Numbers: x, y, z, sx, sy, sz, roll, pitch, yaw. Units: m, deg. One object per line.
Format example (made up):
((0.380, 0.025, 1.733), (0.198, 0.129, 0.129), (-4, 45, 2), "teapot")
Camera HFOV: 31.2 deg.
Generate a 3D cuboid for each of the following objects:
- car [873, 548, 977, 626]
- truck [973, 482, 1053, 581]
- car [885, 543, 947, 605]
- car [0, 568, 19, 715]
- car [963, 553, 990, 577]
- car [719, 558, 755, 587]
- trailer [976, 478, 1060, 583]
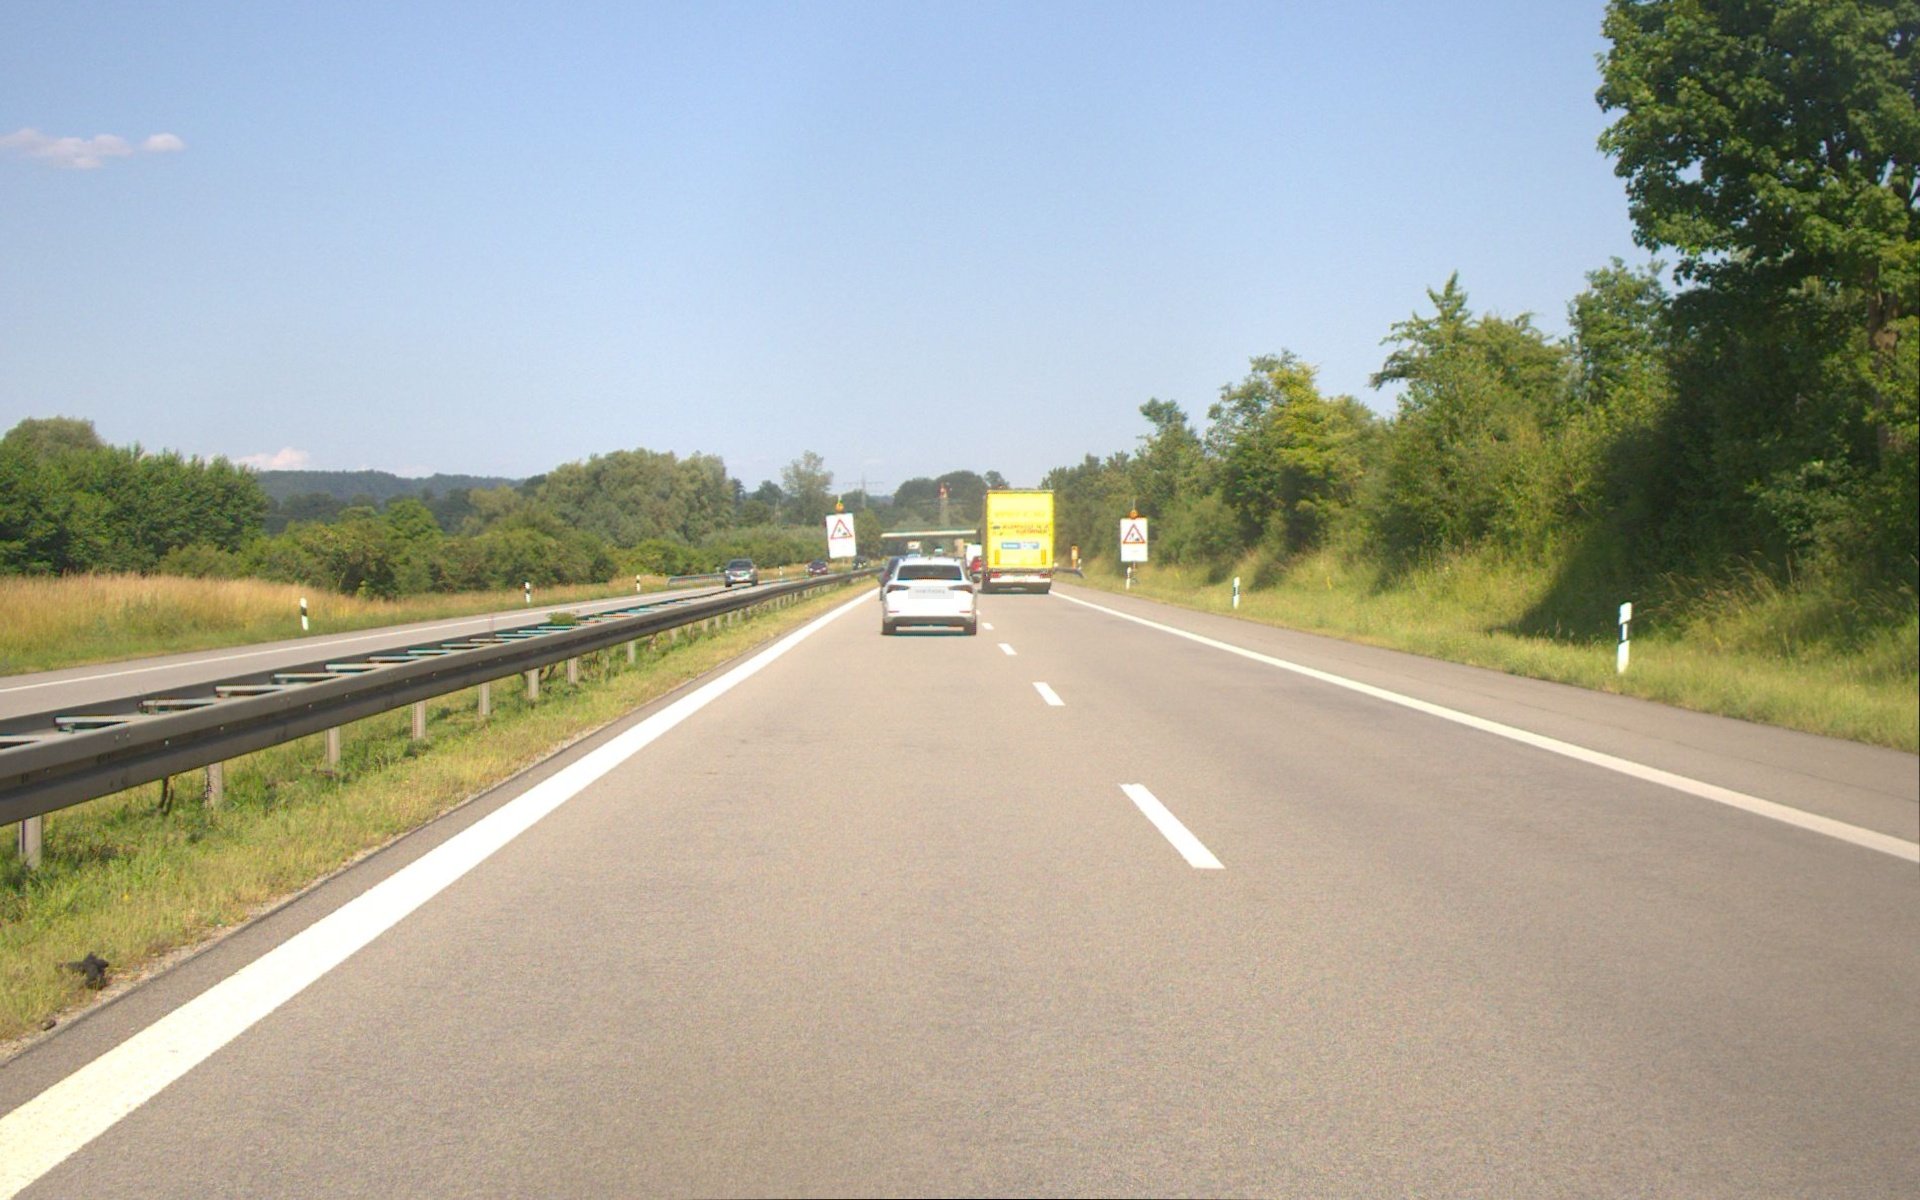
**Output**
((-0.630, -0.259, 64.839), (1.843, 1.411, 4.000), (1, 1, 1), "car")
((2.221, -2.878, 146.286), (3.168, 4.100, 6.389), (1, 1, -1), "truck")
((-1.470, -0.876, 114.978), (1.993, 2.007, 4.000), (1, 1, -1), "car")
((-10.607, 0.473, 33.045), (1.770, 1.480, 4.913), (-1, 1, 0), "car")
((1.205, -2.573, 250.722), (1.902, 1.677, 4.731), (2, 1, 0), "car")
((-13.588, -1.666, 209.539), (1.902, 1.677, 4.731), (-2, 1, 0), "car")
((2.269, -2.766, 139.754), (3.184, 4.045, 13.187), (1, 1, 0), "trailer")
